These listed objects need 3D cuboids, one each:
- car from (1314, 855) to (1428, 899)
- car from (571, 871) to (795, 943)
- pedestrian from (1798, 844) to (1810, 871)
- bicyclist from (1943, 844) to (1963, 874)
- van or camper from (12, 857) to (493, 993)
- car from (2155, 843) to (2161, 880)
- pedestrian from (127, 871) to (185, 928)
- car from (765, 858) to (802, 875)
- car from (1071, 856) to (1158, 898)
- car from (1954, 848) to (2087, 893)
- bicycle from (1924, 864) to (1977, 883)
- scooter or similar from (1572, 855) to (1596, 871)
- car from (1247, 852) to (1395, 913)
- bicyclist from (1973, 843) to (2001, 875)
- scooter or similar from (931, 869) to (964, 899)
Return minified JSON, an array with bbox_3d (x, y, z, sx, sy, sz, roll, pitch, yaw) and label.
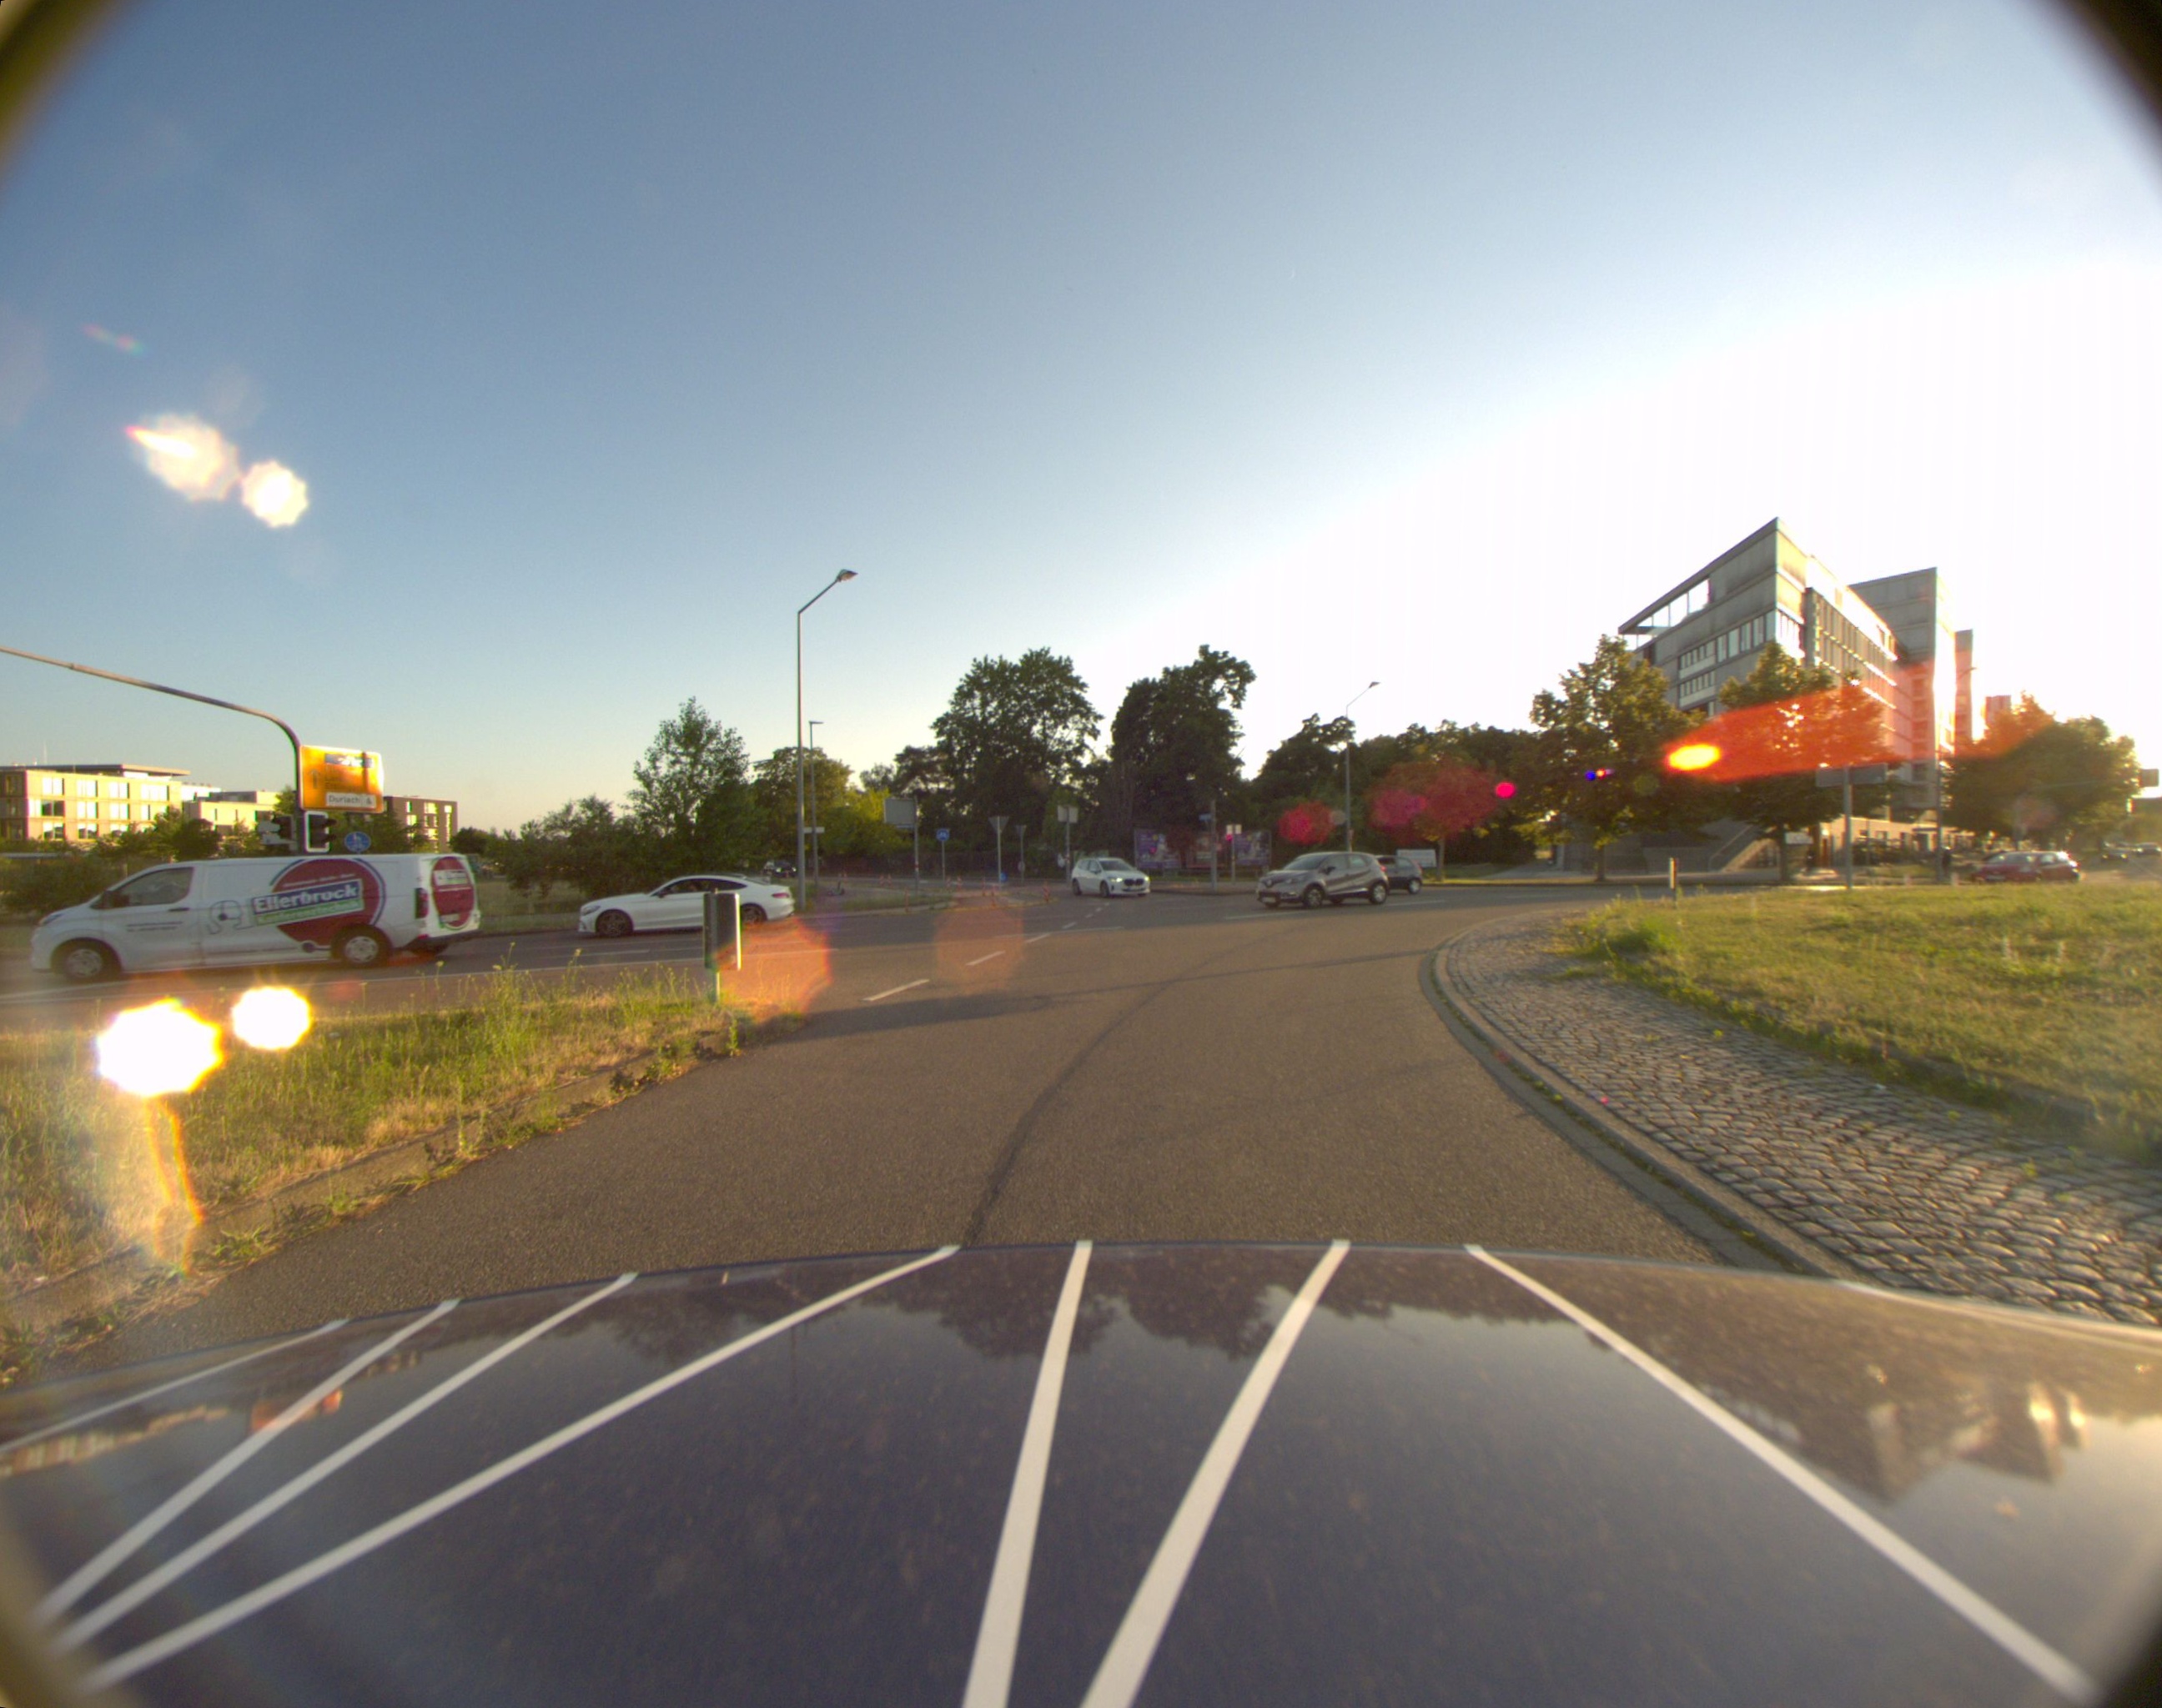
[{"bbox_3d":[10.646,0.799,27.864,4.006,1.431,1.741,-1,0,-29],"label":"car"},{"bbox_3d":[-9.403,1.196,18.373,4.564,1.422,1.742,-1,0,-23],"label":"car"},{"bbox_3d":[54.036,0.235,56.797,0.528,2.002,0.537,-1,0,-37],"label":"pedestrian"},{"bbox_3d":[47.410,0.270,41.314,0.682,1.638,0.685,0,0,44],"label":"bicyclist"},{"bbox_3d":[-13.735,1.079,13.060,5.331,1.946,1.997,-1,1,-13],"label":"van or camper"},{"bbox_3d":[53.245,0.326,36.462,4.007,1.692,1.773,-1,1,-32],"label":"car"},{"bbox_3d":[-25.603,1.247,21.046,0.567,1.541,0.797,-1,1,4],"label":"pedestrian"},{"bbox_3d":[-27.320,1.112,69.609,1.875,1.477,3.989,-1,0,-41],"label":"car"},{"bbox_3d":[1.281,0.893,30.975,1.893,1.549,4.087,-1,0,-25],"label":"car"},{"bbox_3d":[36.703,0.603,29.697,4.002,1.612,1.775,-1,0,-15],"label":"car"},{"bbox_3d":[47.182,1.056,41.239,1.858,1.016,0.308,-1,0,44],"label":"bicycle"},{"bbox_3d":[38.859,0.660,58.761,0.367,1.213,1.573,-1,0,-27],"label":"scooter or similar"},{"bbox_3d":[6.872,0.750,21.678,4.006,1.527,1.741,-1,1,-29],"label":"car"},{"bbox_3d":[49.086,0.261,41.148,0.805,1.745,0.847,-1,0,-30],"label":"bicyclist"},{"bbox_3d":[-5.536,1.240,31.633,0.441,1.156,1.386,0,0,39],"label":"scooter or similar"}]
